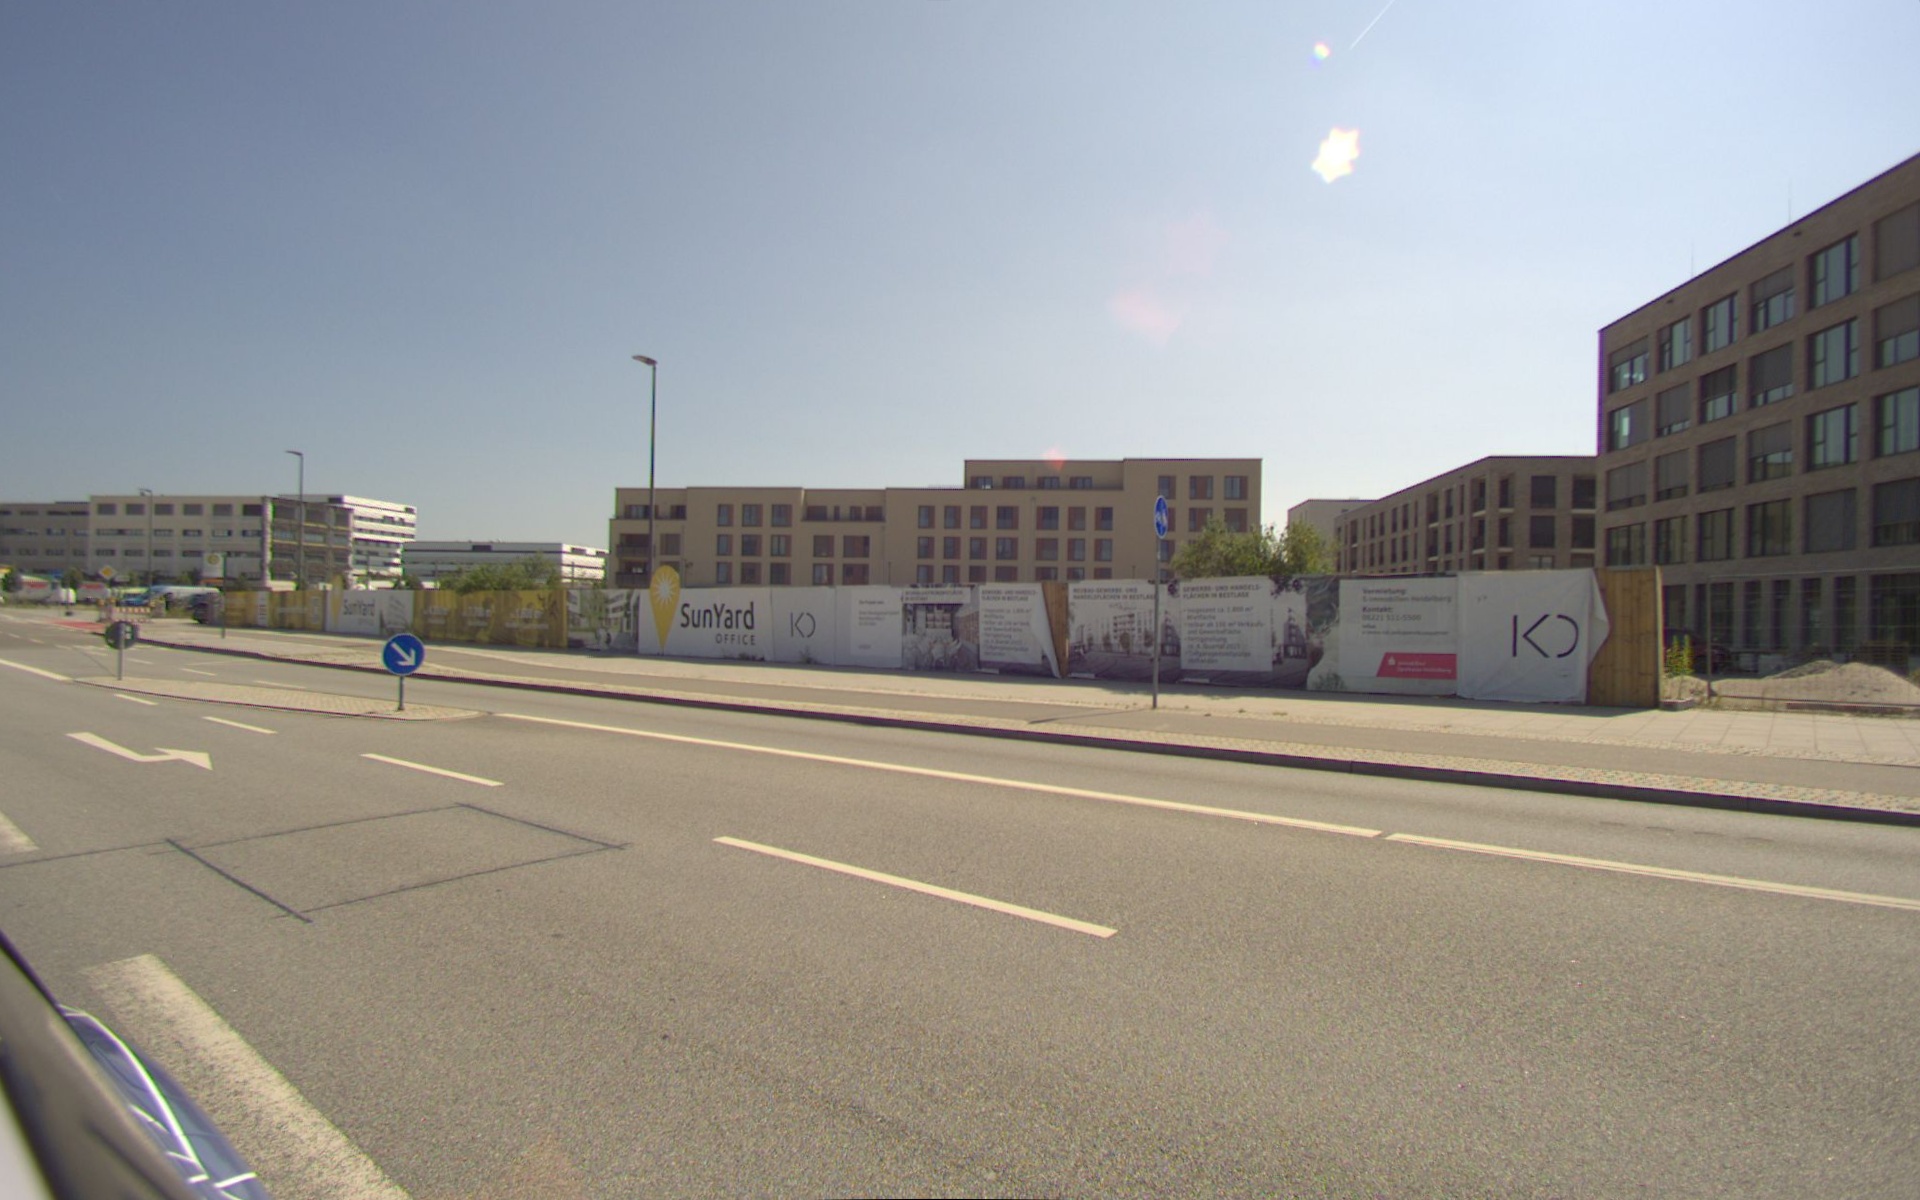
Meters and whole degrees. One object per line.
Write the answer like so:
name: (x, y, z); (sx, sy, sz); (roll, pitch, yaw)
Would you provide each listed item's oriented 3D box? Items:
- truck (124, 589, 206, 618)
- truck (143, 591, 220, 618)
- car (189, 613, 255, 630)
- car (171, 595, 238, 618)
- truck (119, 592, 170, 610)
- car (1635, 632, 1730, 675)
truck: (-72.515, 0.301, 92.423); (1.996, 2.494, 5.567); (0, 1, 36)
truck: (-67.152, 0.343, 87.304); (1.998, 2.245, 4.942); (0, 1, 39)
car: (-48.323, 1.395, 66.269); (1.293, 0.960, 3.315); (0, 1, 43)
car: (-60.328, 0.527, 80.870); (1.888, 1.731, 3.885); (0, 1, 35)
truck: (-114.580, 0.160, 142.213); (1.996, 2.494, 5.270); (0, 1, 36)
car: (32.018, 2.345, 44.983); (1.814, 1.666, 3.772); (0, 1, 7)
